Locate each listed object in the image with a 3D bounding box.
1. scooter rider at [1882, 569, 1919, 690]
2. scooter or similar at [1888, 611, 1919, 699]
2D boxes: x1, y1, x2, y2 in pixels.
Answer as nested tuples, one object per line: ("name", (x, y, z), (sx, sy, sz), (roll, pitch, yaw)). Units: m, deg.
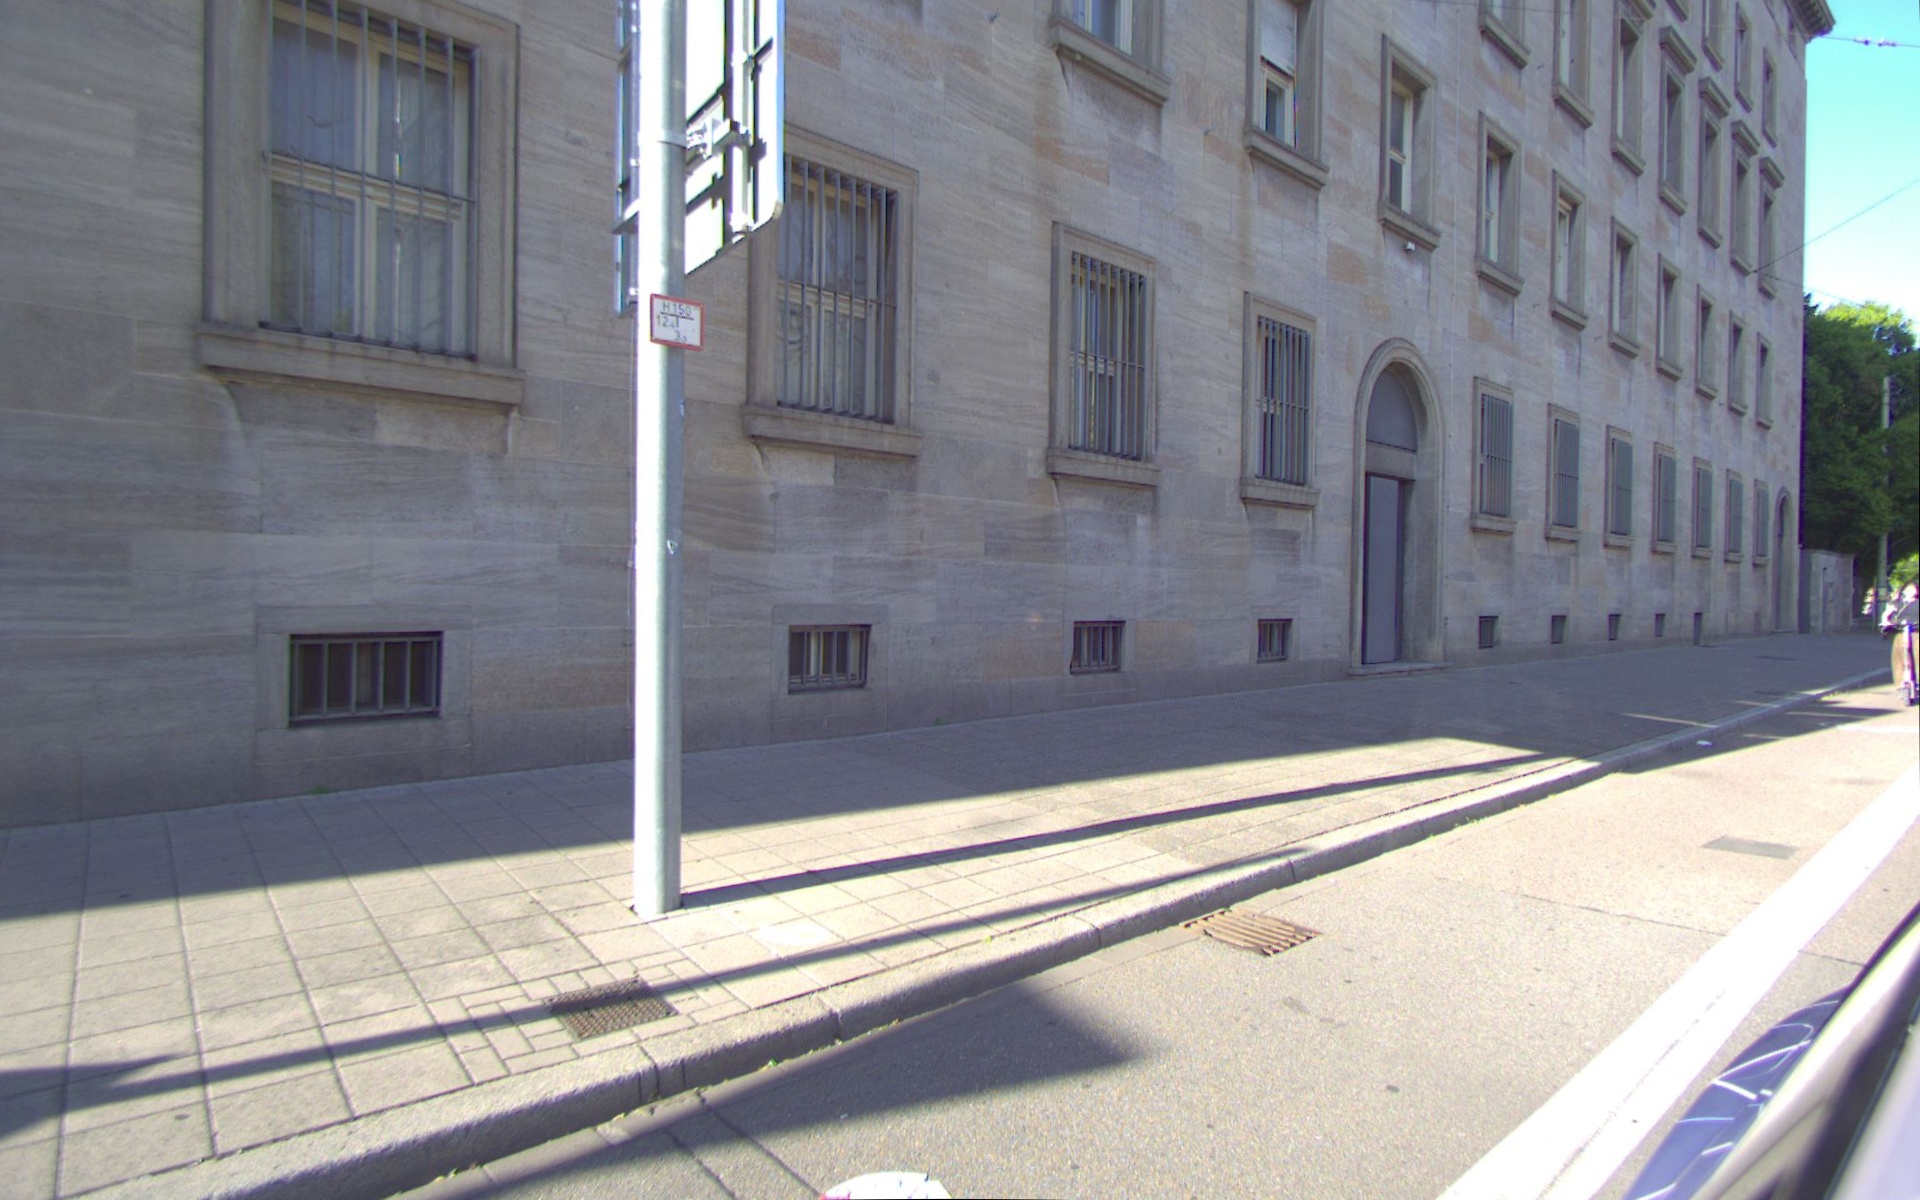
("scooter rider", (13.645, 0.414, 14.383), (0.547, 1.692, 0.730), (0, 1, -41))
("scooter or similar", (13.686, 0.768, 14.425), (1.305, 1.200, 0.535), (0, 1, -42))
